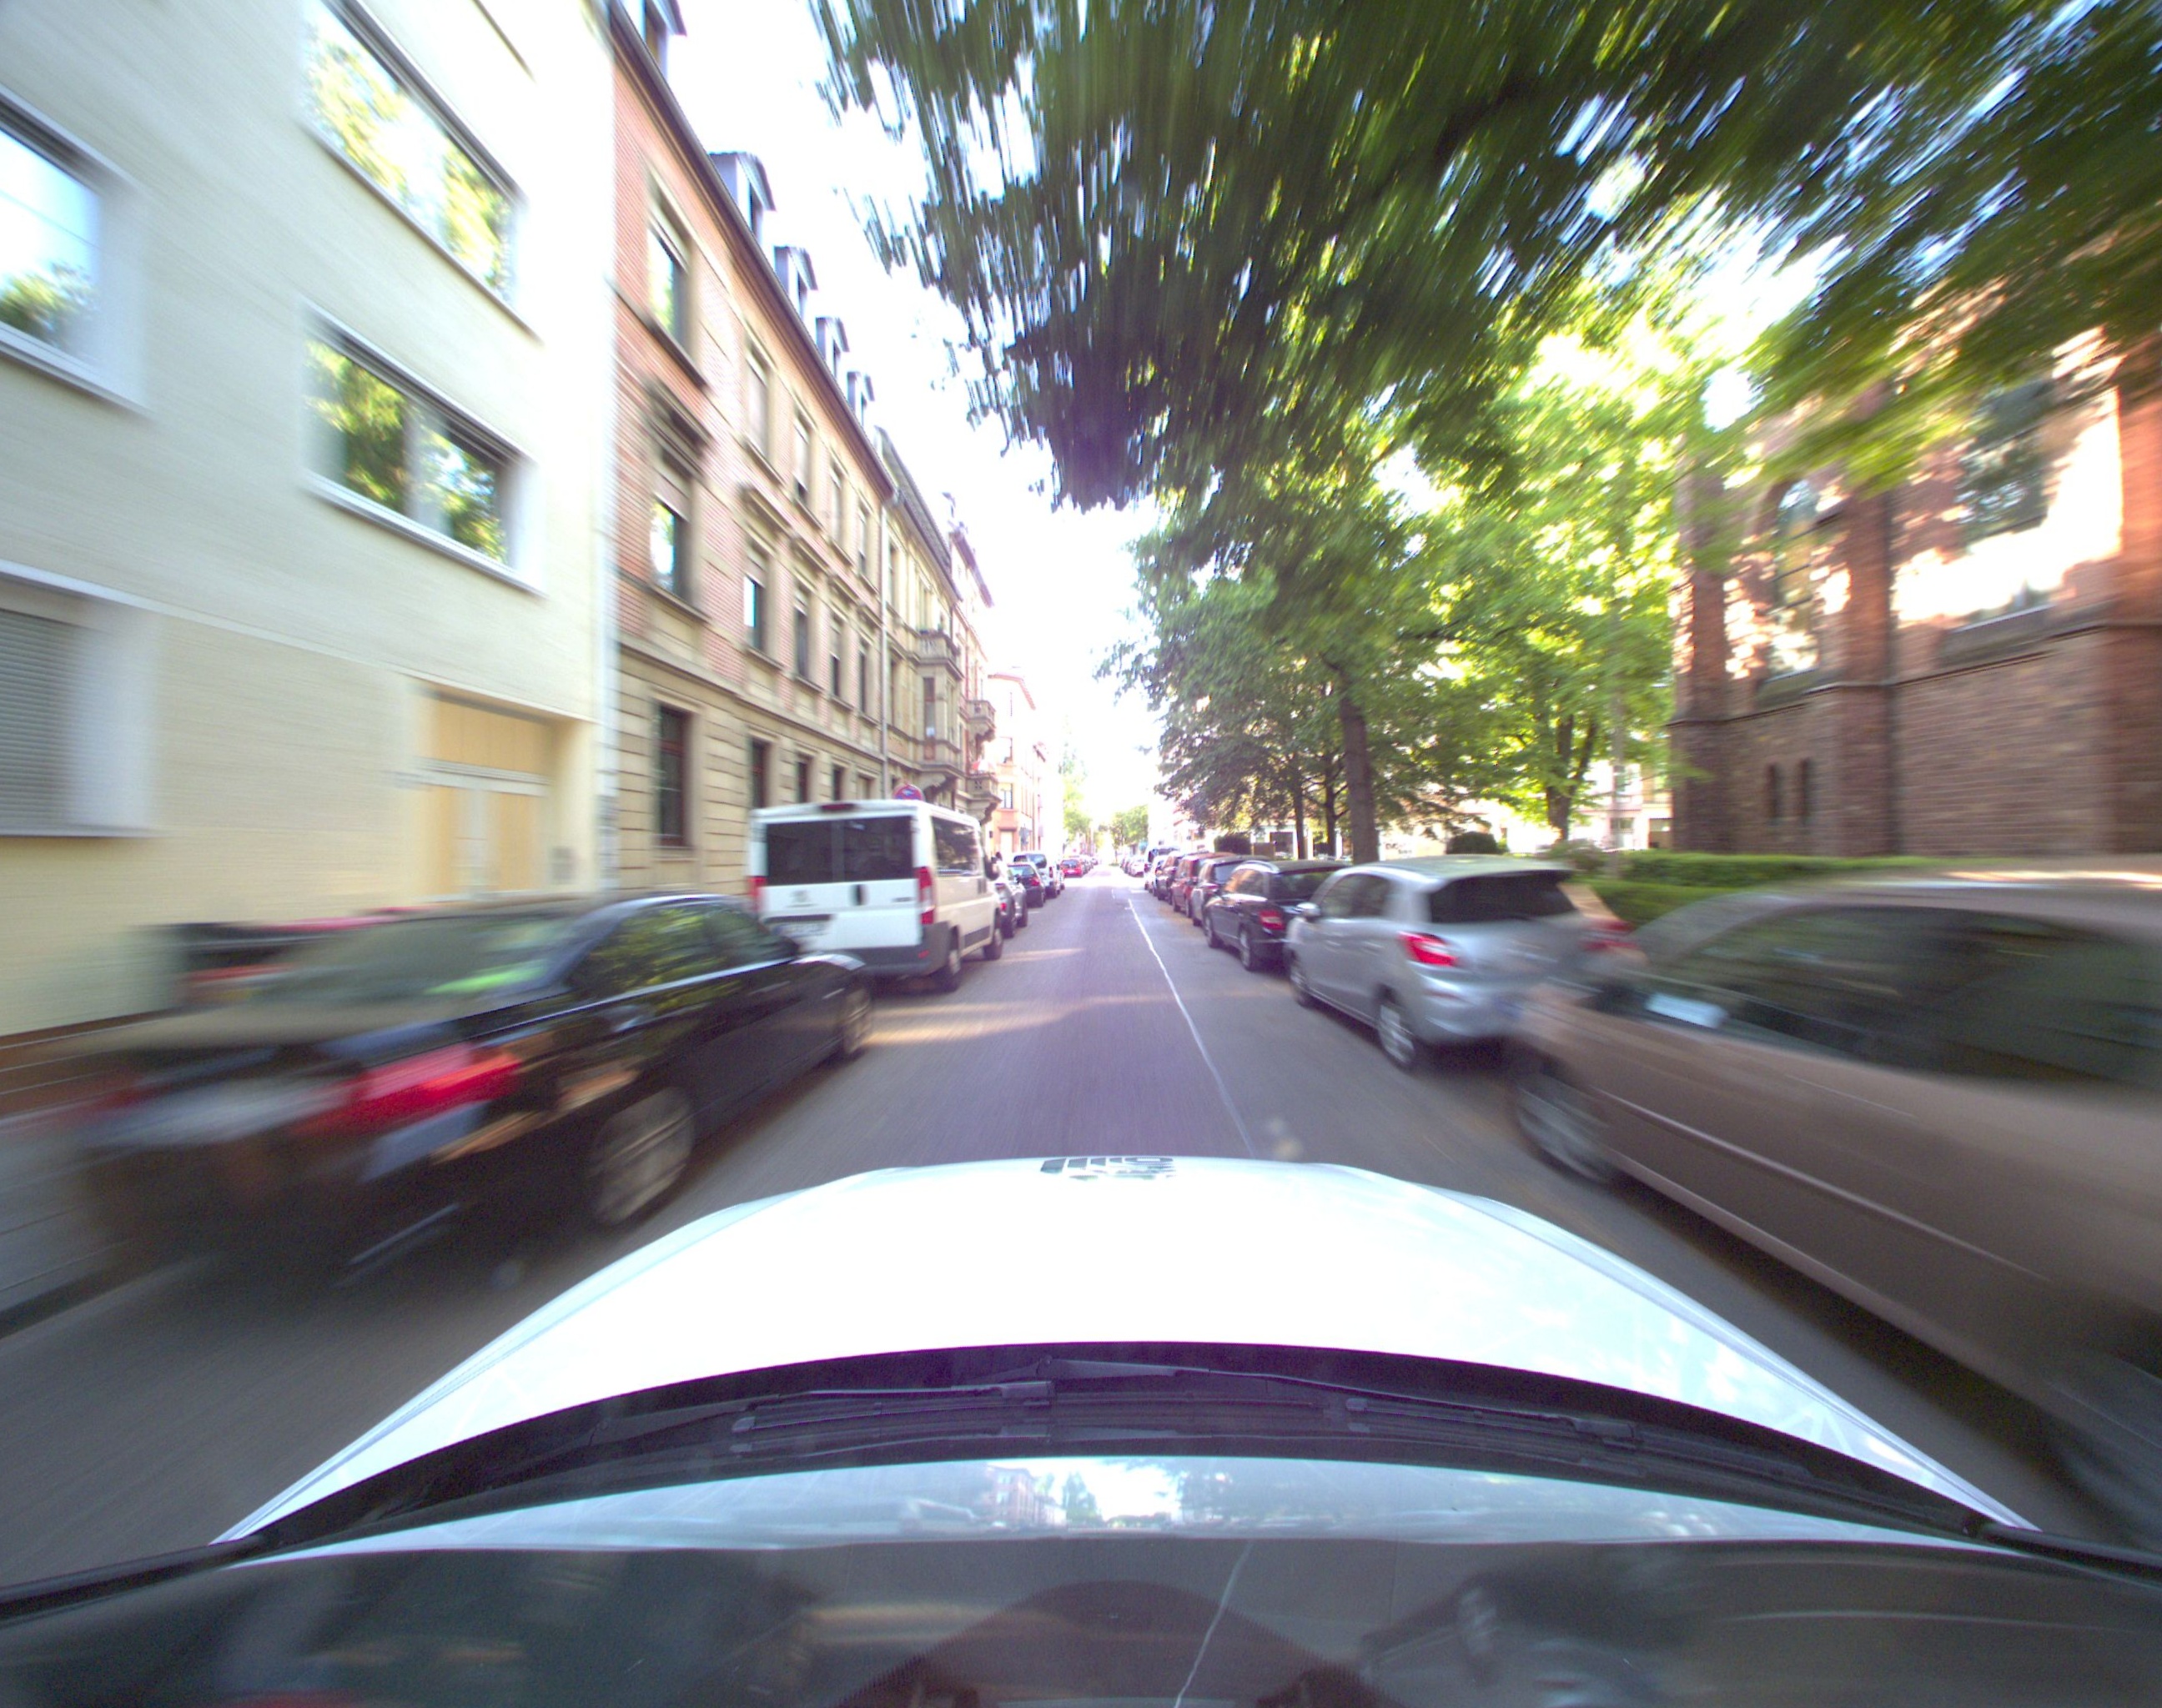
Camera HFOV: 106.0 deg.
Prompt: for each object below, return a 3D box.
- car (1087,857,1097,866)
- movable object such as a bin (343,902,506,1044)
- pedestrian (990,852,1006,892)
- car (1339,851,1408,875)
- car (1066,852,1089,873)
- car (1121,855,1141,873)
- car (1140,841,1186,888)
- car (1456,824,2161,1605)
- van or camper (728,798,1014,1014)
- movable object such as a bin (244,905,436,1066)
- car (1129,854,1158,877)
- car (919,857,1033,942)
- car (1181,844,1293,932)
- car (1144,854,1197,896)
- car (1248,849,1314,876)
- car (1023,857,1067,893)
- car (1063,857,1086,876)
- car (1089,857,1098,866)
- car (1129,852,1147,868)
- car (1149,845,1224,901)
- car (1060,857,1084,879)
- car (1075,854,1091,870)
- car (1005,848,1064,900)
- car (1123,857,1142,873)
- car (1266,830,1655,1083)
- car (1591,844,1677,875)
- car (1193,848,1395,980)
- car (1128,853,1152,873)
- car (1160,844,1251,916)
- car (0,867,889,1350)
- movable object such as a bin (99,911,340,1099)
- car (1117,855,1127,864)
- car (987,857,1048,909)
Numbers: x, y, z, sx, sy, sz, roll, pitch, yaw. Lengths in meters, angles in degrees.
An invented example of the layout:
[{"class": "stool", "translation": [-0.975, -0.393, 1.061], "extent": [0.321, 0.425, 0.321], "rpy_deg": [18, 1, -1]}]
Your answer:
[{"class": "car", "translation": [1.982, 1.366, 149.694], "extent": [1.670, 1.487, 4.095], "rpy_deg": [-3, 0, 1]}, {"class": "movable object such as a bin", "translation": [-5.401, 0.955, 6.740], "extent": [0.796, 1.088, 0.667], "rpy_deg": [-1, -2, 5]}, {"class": "pedestrian", "translation": [-3.441, 0.761, 33.708], "extent": [0.546, 1.644, 0.717], "rpy_deg": [0, -3, 1]}, {"class": "car", "translation": [18.283, 0.592, 51.041], "extent": [3.832, 1.473, 1.637], "rpy_deg": [0, -2, 8]}, {"class": "car", "translation": [-0.293, 0.767, 76.301], "extent": [1.736, 1.811, 4.676], "rpy_deg": [-3, 0, 4]}, {"class": "car", "translation": [4.622, 0.924, 75.745], "extent": [1.670, 1.506, 3.938], "rpy_deg": [-3, 0, 1]}, {"class": "car", "translation": [3.792, 0.478, 38.353], "extent": [1.906, 1.998, 4.797], "rpy_deg": [-3, 0, 4]}, {"class": "car", "translation": [2.937, 0.707, 2.856], "extent": [1.593, 1.468, 3.565], "rpy_deg": [-6, -1, 2]}, {"class": "van or camper", "translation": [-2.409, 0.548, 11.045], "extent": [2.167, 2.148, 5.158], "rpy_deg": [-3, 0, 3]}, {"class": "movable object such as a bin", "translation": [-5.445, 0.941, 6.025], "extent": [0.796, 1.088, 0.667], "rpy_deg": [-1, -2, 5]}, {"class": "car", "translation": [4.612, 0.833, 60.494], "extent": [1.739, 1.506, 4.356], "rpy_deg": [-3, 0, -1]}, {"class": "car", "translation": [-2.099, 0.858, 17.416], "extent": [1.760, 1.514, 4.194], "rpy_deg": [-3, 0, 1]}, {"class": "car", "translation": [3.137, 0.664, 17.039], "extent": [1.613, 1.486, 3.777], "rpy_deg": [-6, -1, 2]}, {"class": "car", "translation": [3.556, 0.790, 32.901], "extent": [1.713, 1.571, 3.828], "rpy_deg": [-1, 0, 0]}, {"class": "car", "translation": [12.595, 0.576, 51.383], "extent": [3.897, 1.608, 1.765], "rpy_deg": [-1, -2, 8]}, {"class": "car", "translation": [-1.578, 0.900, 37.419], "extent": [1.686, 1.481, 3.974], "rpy_deg": [-3, 0, 1]}, {"class": "car", "translation": [-0.512, 1.047, 70.804], "extent": [1.649, 1.521, 3.948], "rpy_deg": [-3, 0, 4]}, {"class": "car", "translation": [2.342, 1.403, 155.089], "extent": [1.670, 1.487, 4.095], "rpy_deg": [-3, 0, 1]}, {"class": "car", "translation": [6.475, 0.705, 92.350], "extent": [1.670, 1.627, 4.251], "rpy_deg": [-5, -1, 1]}, {"class": "car", "translation": [3.494, 0.649, 27.776], "extent": [1.735, 1.603, 4.260], "rpy_deg": [-5, -1, -2]}, {"class": "car", "translation": [-0.646, 1.018, 61.183], "extent": [1.622, 1.481, 3.602], "rpy_deg": [-3, 0, 1]}, {"class": "car", "translation": [0.258, 0.907, 95.464], "extent": [1.759, 1.785, 4.040], "rpy_deg": [-3, 0, 1]}, {"class": "car", "translation": [-1.755, 0.736, 32.033], "extent": [1.824, 1.811, 4.573], "rpy_deg": [-3, 0, 2]}, {"class": "car", "translation": [5.074, 1.053, 80.857], "extent": [1.670, 1.506, 3.938], "rpy_deg": [-3, 0, 1]}, {"class": "car", "translation": [2.899, 0.697, 7.153], "extent": [1.594, 1.505, 3.627], "rpy_deg": [-5, -1, 0]}, {"class": "car", "translation": [30.193, 0.316, 44.549], "extent": [3.510, 1.649, 1.637], "rpy_deg": [0, -2, 8]}, {"class": "car", "translation": [2.909, 0.761, 12.235], "extent": [1.670, 1.441, 4.694], "rpy_deg": [-5, -1, 0]}, {"class": "car", "translation": [4.779, 0.737, 66.561], "extent": [1.737, 1.506, 4.022], "rpy_deg": [-3, 0, 1]}, {"class": "car", "translation": [3.294, 0.686, 22.154], "extent": [1.615, 1.624, 3.860], "rpy_deg": [-5, -1, -2]}, {"class": "car", "translation": [-2.644, 0.857, 4.747], "extent": [1.723, 1.402, 4.319], "rpy_deg": [-3, 0, 3]}, {"class": "movable object such as a bin", "translation": [-5.521, 0.937, 5.265], "extent": [0.832, 1.088, 0.676], "rpy_deg": [-1, -2, 5]}, {"class": "car", "translation": [7.552, 1.011, 150.807], "extent": [1.670, 1.487, 3.638], "rpy_deg": [-3, 0, 1]}, {"class": "car", "translation": [-2.042, 0.913, 27.154], "extent": [1.688, 1.514, 3.971], "rpy_deg": [-3, 0, -1]}]
